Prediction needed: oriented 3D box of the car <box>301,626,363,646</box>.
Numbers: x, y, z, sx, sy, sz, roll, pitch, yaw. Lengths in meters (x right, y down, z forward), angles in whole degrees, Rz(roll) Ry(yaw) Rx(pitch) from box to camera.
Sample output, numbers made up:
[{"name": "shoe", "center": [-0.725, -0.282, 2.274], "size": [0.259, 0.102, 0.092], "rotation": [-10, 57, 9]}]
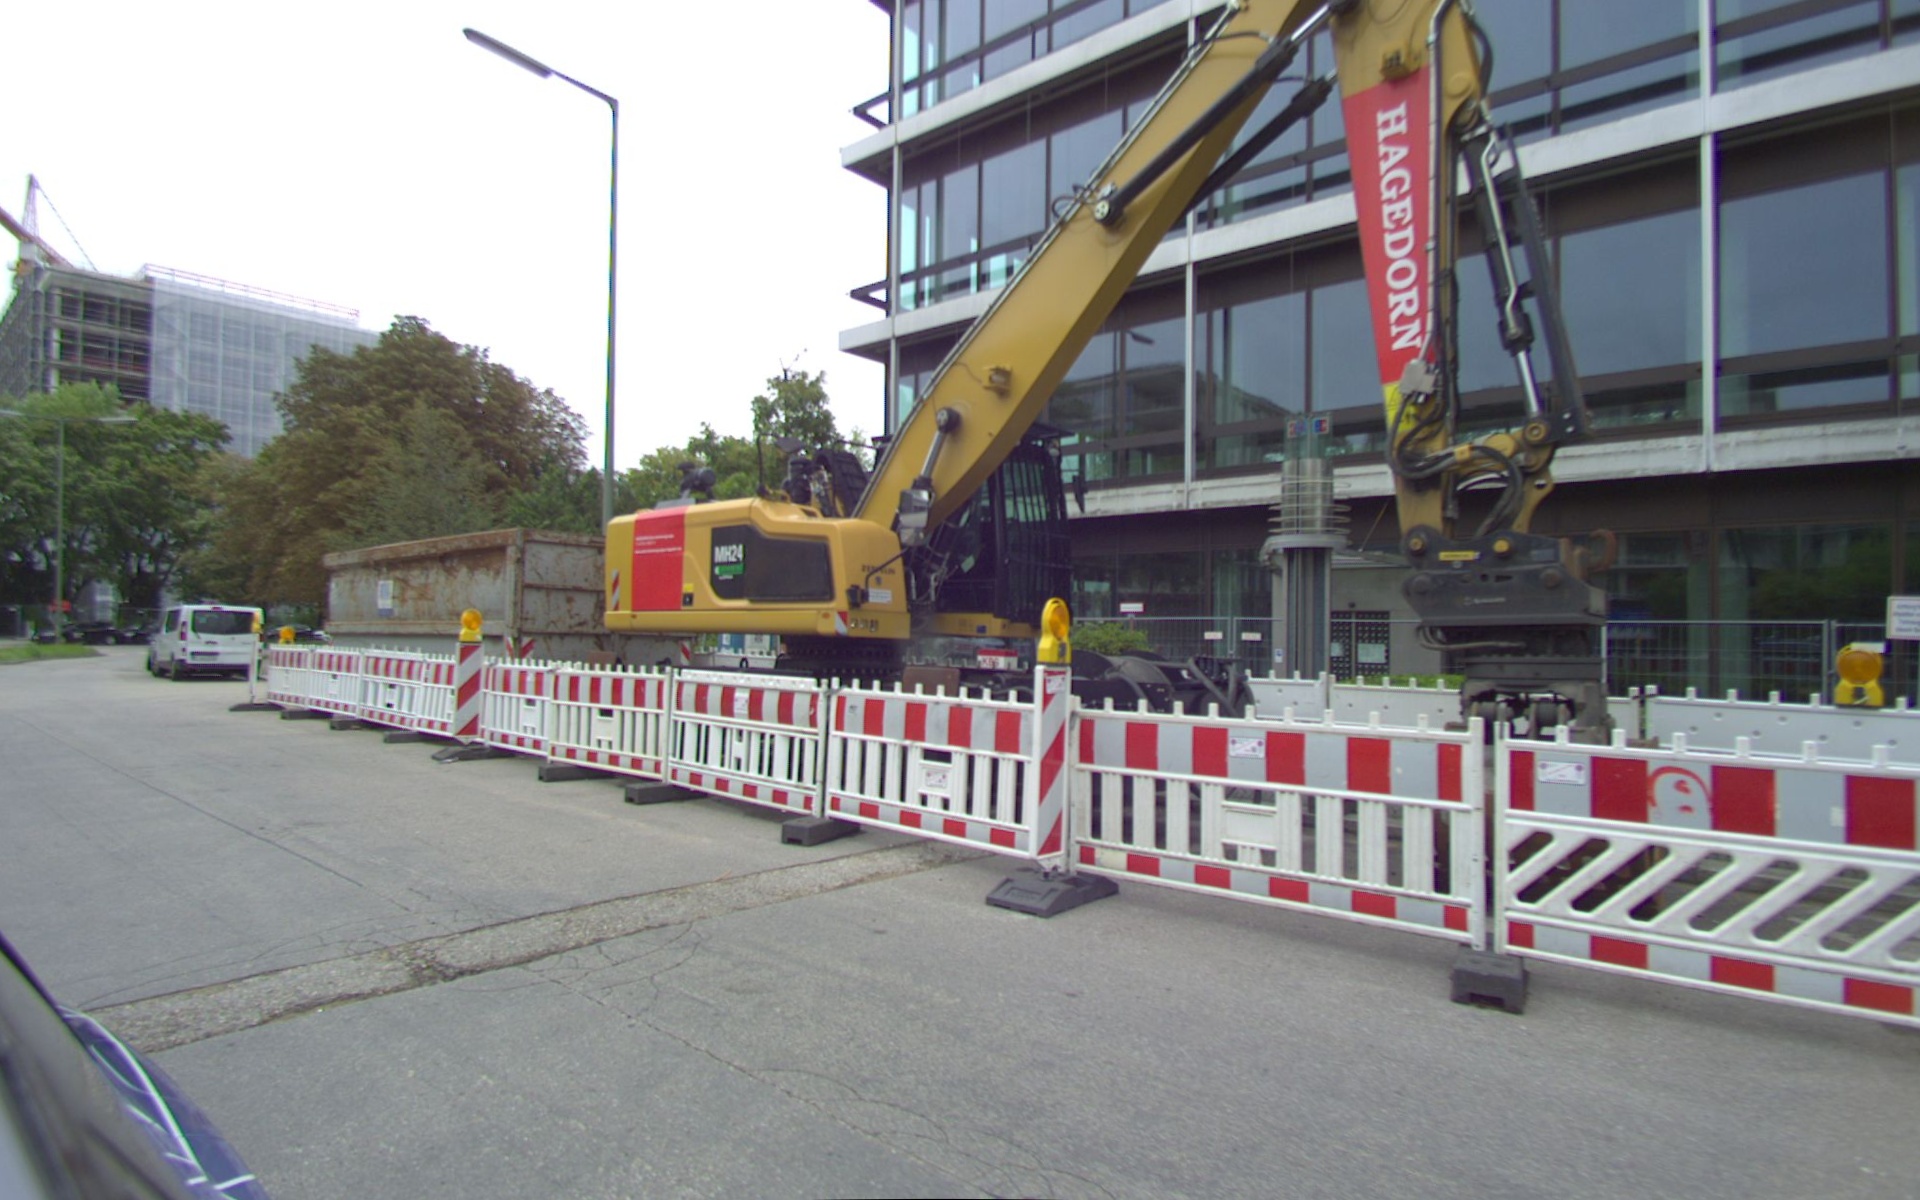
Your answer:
[{"name": "car", "center": [-46.315, 2.620, 74.708], "size": [1.509, 1.397, 3.697], "rotation": [2, -1, 19]}]

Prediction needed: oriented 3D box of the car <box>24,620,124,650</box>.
[{"name": "car", "center": [-50.247, 1.976, 57.479], "size": [1.775, 1.584, 3.863], "rotation": [2, -1, 18]}]

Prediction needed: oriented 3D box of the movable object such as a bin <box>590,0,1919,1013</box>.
[{"name": "movable object such as a bin", "center": [1.589, -1.651, 7.789], "size": [11.777, 6.614, 2.874], "rotation": [0, -2, 41]}]

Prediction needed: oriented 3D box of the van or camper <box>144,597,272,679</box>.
[{"name": "van or camper", "center": [-20.923, 1.050, 28.047], "size": [5.589, 2.050, 1.966], "rotation": [-2, -4, 45]}]

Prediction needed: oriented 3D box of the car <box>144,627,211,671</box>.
[{"name": "car", "center": [-28.199, 1.733, 36.562], "size": [1.714, 1.470, 4.040], "rotation": [4, -3, -36]}]

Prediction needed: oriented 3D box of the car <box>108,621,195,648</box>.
[{"name": "car", "center": [-49.366, 2.096, 61.906], "size": [1.772, 1.584, 3.870], "rotation": [2, -1, 13]}]

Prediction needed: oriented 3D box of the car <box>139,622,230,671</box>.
[{"name": "car", "center": [-25.473, 1.494, 33.211], "size": [1.969, 1.470, 4.124], "rotation": [4, -4, -42]}]
